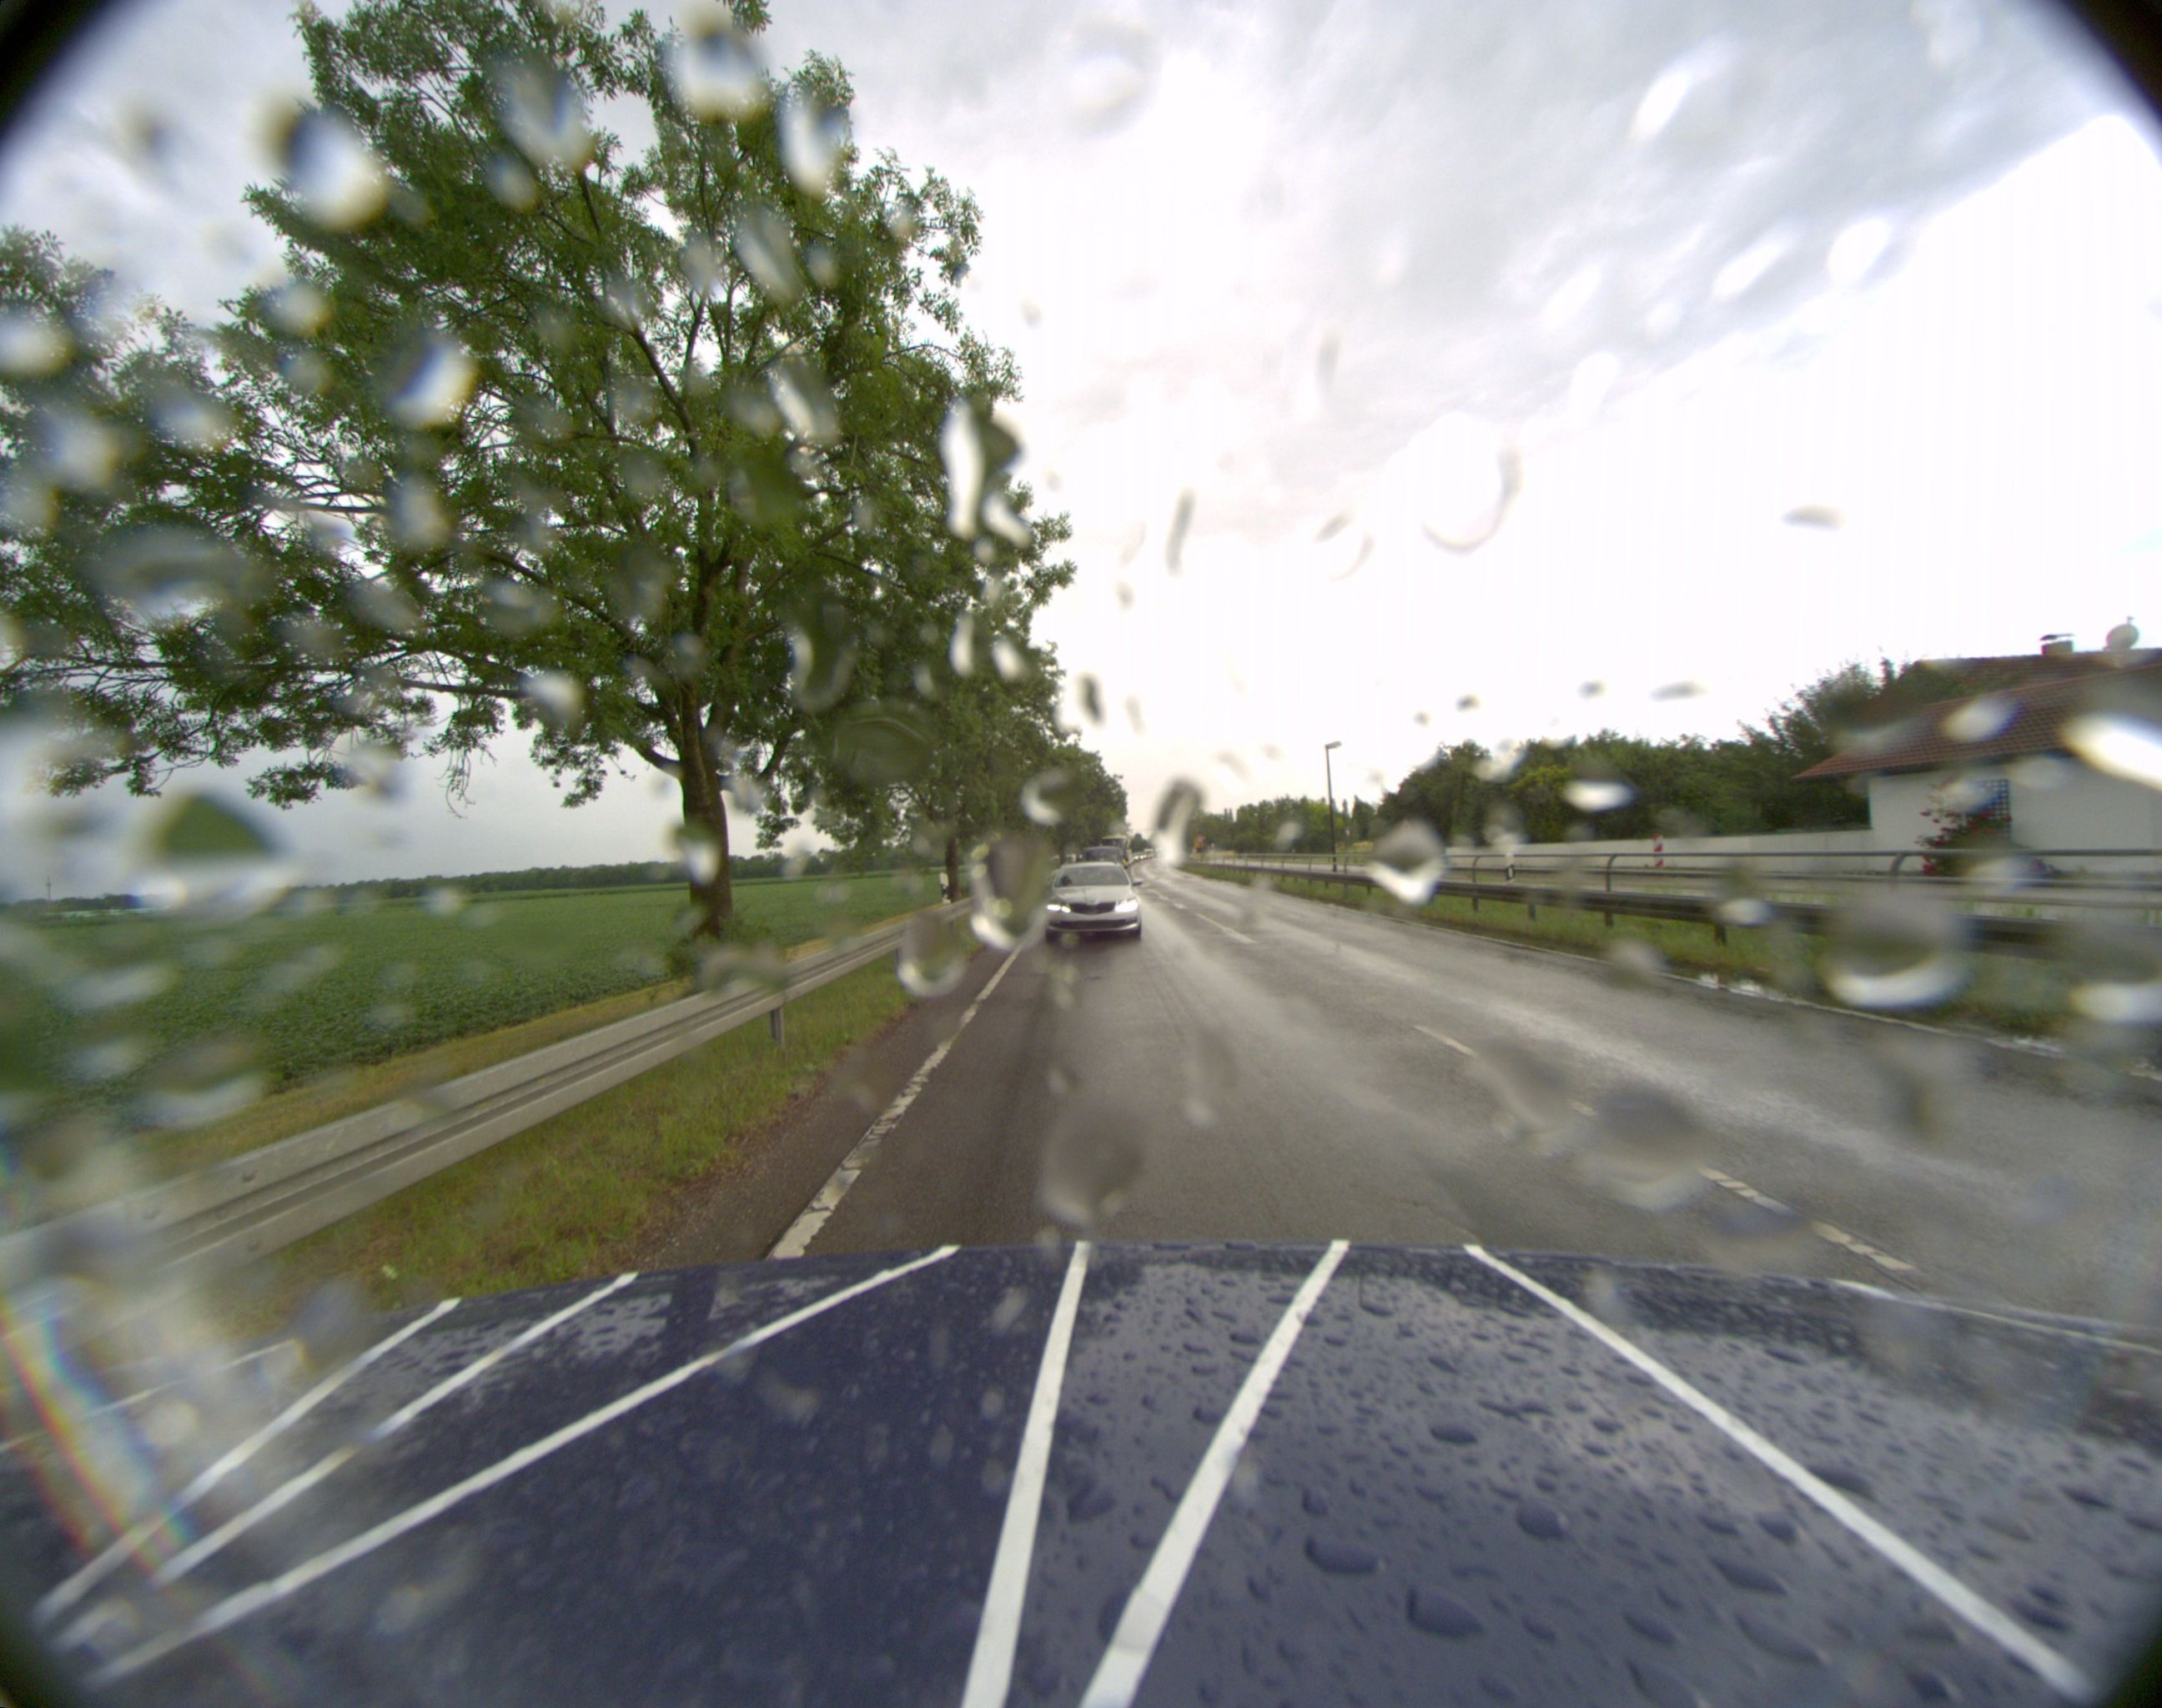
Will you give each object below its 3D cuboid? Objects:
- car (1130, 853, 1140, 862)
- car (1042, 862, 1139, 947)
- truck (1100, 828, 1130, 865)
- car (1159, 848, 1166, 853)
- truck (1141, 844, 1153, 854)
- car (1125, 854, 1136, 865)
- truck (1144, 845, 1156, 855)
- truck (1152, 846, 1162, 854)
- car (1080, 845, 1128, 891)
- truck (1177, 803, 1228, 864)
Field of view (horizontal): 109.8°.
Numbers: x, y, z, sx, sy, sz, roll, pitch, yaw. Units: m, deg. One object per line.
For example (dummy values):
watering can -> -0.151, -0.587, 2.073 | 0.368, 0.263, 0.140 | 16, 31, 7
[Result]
car -> 9.873, 0.584, 139.191 | 1.690, 1.572, 3.784 | -3, 0, 3
car -> 0.150, 0.918, 15.476 | 1.705, 1.438, 4.000 | -1, 0, -1
truck -> 3.571, -0.759, 81.111 | 2.751, 3.547, 8.386 | -3, 0, 1
car -> 27.591, -1.183, 256.610 | 1.811, 1.723, 4.027 | -4, 0, 0
truck -> 16.869, -1.286, 194.919 | 2.800, 2.461, 7.169 | -3, 0, 3
car -> 7.912, 0.826, 121.911 | 1.690, 1.572, 3.784 | -3, 0, 3
truck -> 19.368, -1.096, 213.428 | 2.800, 2.461, 7.169 | -3, 0, 3
truck -> 24.107, -1.225, 241.461 | 2.800, 2.461, 7.169 | -3, 0, 3
car -> 0.946, 0.578, 33.300 | 1.903, 1.884, 4.000 | -1, 0, -1
truck -> 10.827, -1.748, 68.621 | 3.256, 5.004, 7.783 | -4, 0, 1
